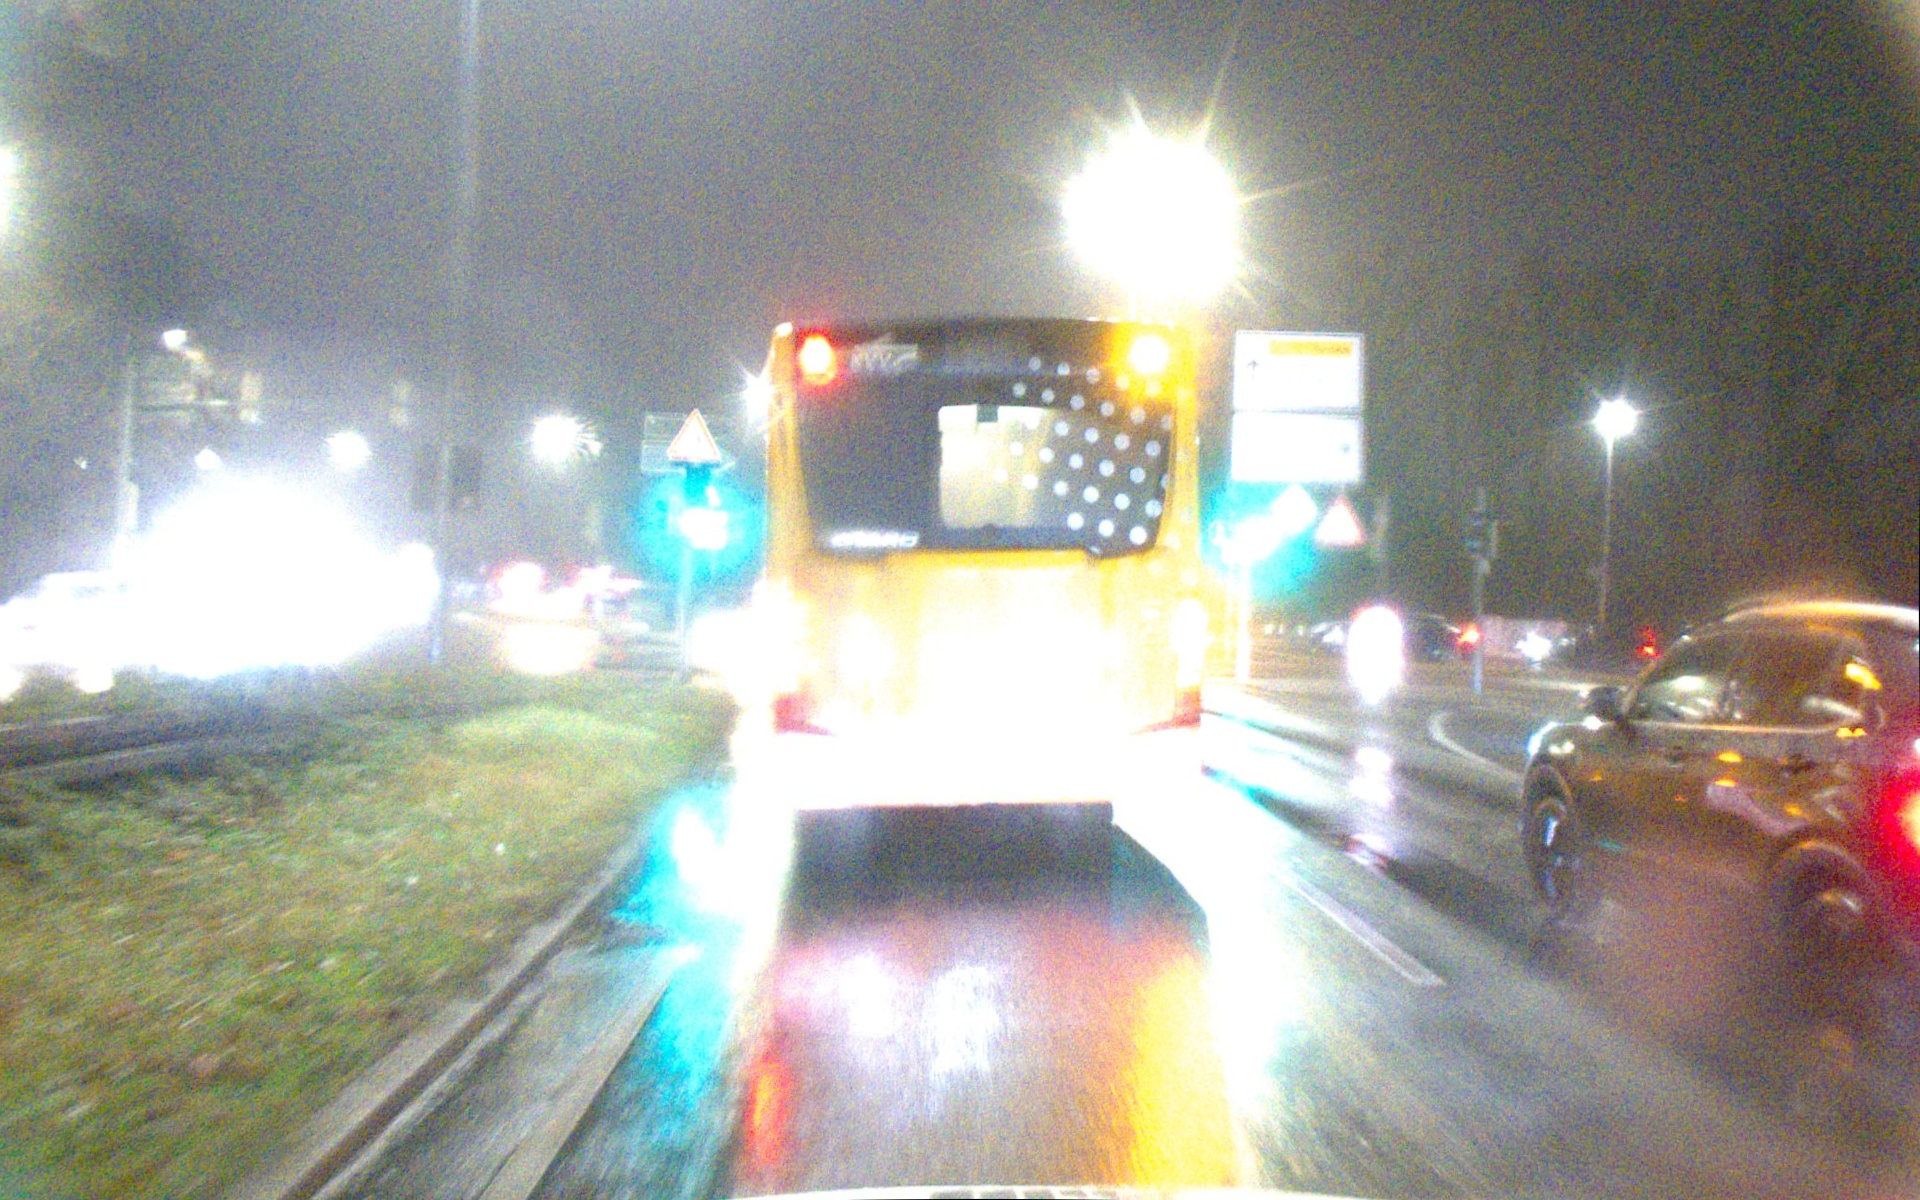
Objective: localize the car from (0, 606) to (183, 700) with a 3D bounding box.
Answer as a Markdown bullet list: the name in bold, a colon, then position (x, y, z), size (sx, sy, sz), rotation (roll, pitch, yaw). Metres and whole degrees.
- **car**: position (-15.255, 0.885, 29.280), size (1.703, 1.522, 3.931), rotation (-1, 0, -10)

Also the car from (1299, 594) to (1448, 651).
- **car**: position (12.863, 0.679, 51.560), size (4.083, 1.545, 1.855), rotation (2, 1, -6)

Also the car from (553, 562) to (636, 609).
- **car**: position (-13.736, -0.528, 62.014), size (1.799, 1.646, 3.956), rotation (3, -1, -32)

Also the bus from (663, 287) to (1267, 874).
- **bus**: position (-0.235, -0.194, 13.609), size (3.220, 3.103, 9.538), rotation (0, 1, -4)

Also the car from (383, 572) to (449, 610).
- **car**: position (-27.206, -0.456, 82.651), size (2.072, 1.672, 3.684), rotation (6, -2, -35)

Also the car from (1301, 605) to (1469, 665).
- **car**: position (11.338, 0.916, 44.259), size (3.964, 1.369, 1.745), rotation (2, 1, -6)

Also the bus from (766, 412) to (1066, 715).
- **bus**: position (-0.858, -0.476, 22.598), size (3.184, 3.174, 8.636), rotation (3, 1, -5)

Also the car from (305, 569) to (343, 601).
- **car**: position (-37.694, -0.870, 98.022), size (1.965, 1.751, 3.974), rotation (2, -1, -21)

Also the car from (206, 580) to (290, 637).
- **car**: position (-19.993, 0.204, 46.586), size (1.762, 1.482, 4.553), rotation (-1, 1, -19)

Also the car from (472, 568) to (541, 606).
- **car**: position (-20.557, -0.587, 74.880), size (1.800, 1.646, 3.952), rotation (3, -1, -34)

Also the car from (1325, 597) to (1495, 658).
- **car**: position (13.147, 0.803, 48.479), size (4.396, 1.545, 1.855), rotation (2, 1, -6)

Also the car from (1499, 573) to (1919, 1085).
- **car**: position (3.689, 0.741, 6.576), size (1.643, 1.548, 3.958), rotation (2, -1, -2)

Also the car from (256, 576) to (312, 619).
- **car**: position (-24.960, -0.065, 60.990), size (1.766, 1.482, 4.542), rotation (-1, 0, -24)
